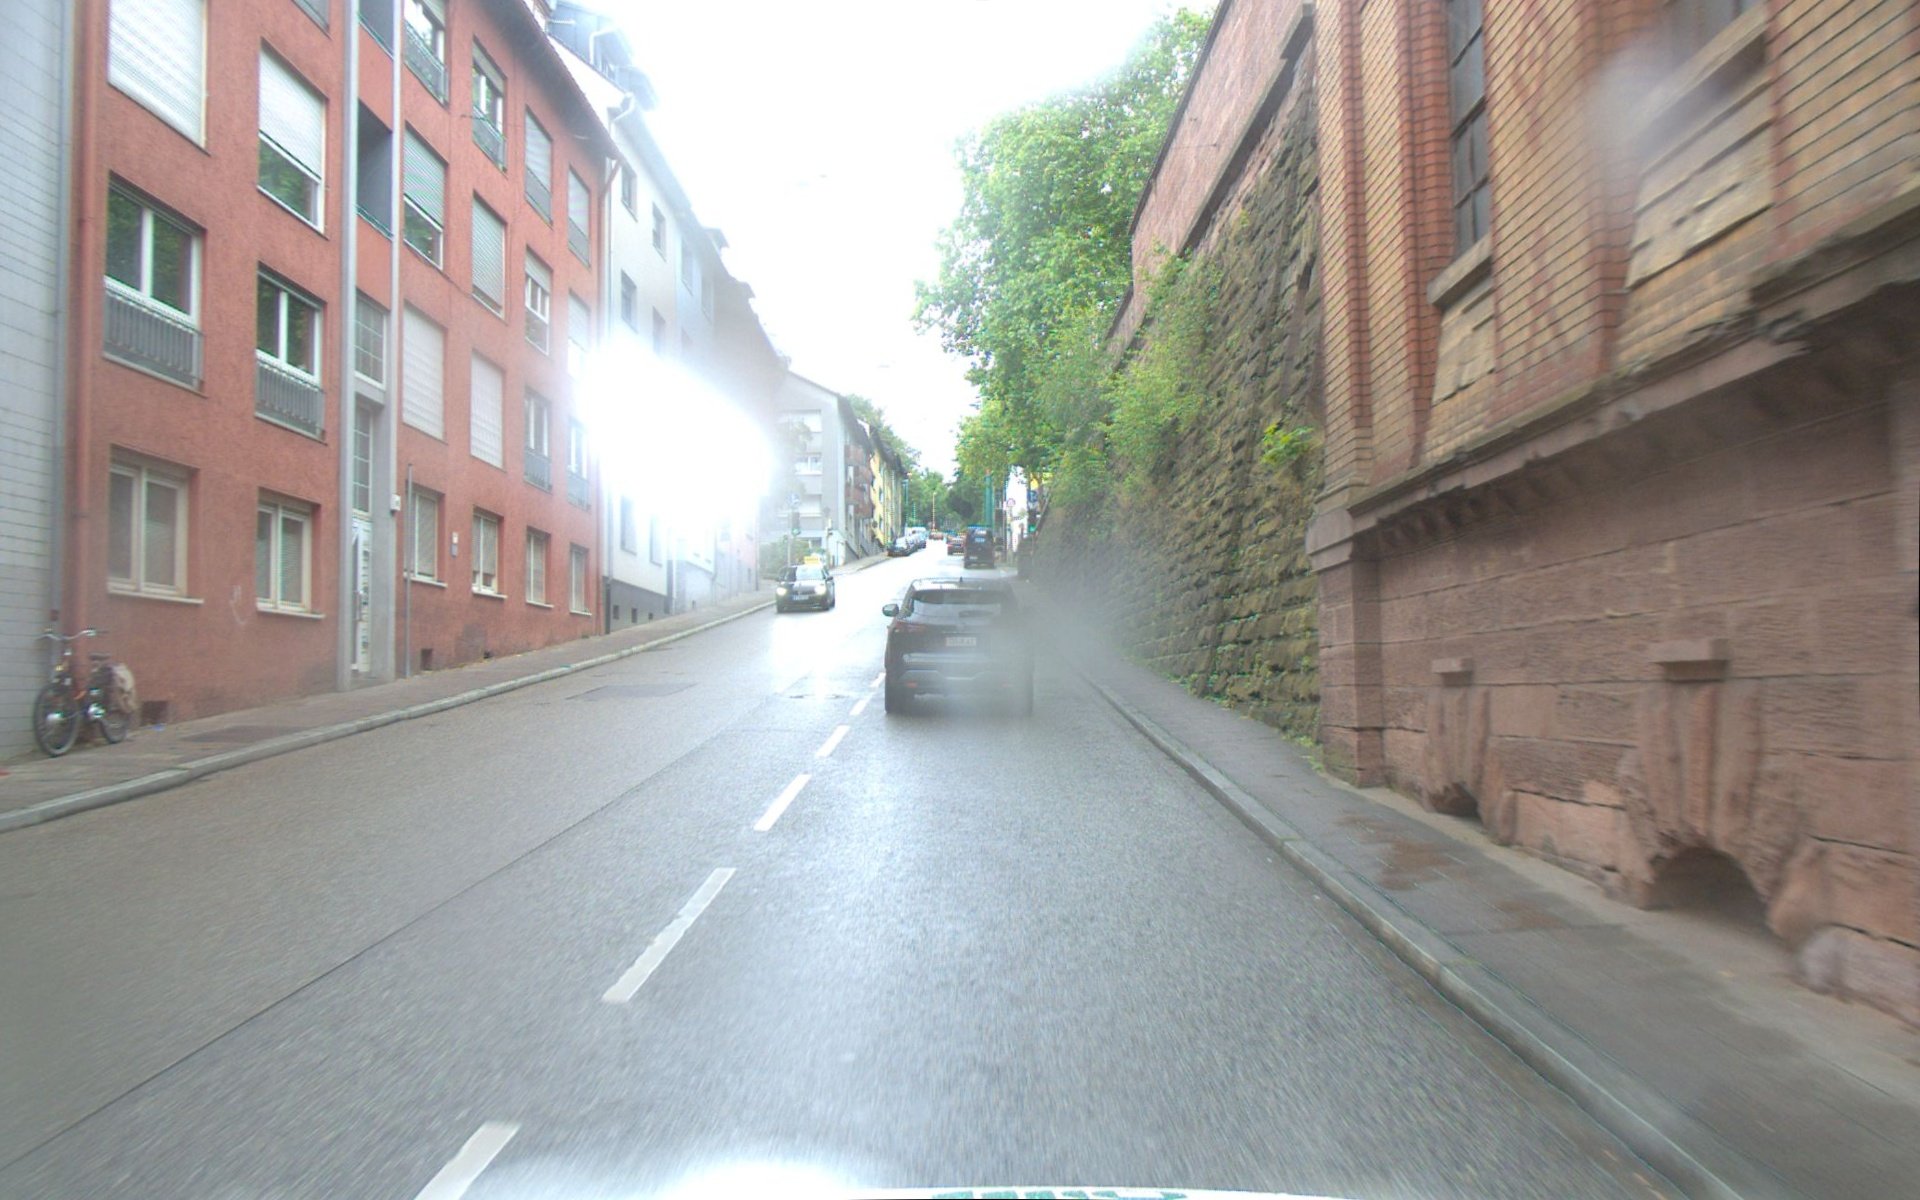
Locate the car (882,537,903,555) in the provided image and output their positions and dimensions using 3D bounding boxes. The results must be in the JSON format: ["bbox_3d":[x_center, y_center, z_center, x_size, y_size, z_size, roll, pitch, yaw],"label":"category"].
[{"bbox_3d":[-6.176,-4.938,151.970,1.757,1.536,4.000,-1,1,0],"label":"car"}]

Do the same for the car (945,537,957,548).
[{"bbox_3d":[-1.338,-8.571,245.495,1.757,1.536,4.000,-1,1,0],"label":"car"}]

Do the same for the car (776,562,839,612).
[{"bbox_3d":[-4.941,-0.461,53.958,1.679,1.473,3.921,-1,2,-1],"label":"car"}]

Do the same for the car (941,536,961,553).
[{"bbox_3d":[-0.844,-5.218,156.123,1.757,1.536,4.000,-1,1,0],"label":"car"}]

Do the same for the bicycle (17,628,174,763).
[{"bbox_3d":[-8.151,0.872,15.674,0.488,1.127,1.800,-1,1,1],"label":"bicycle"}]

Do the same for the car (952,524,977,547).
[{"bbox_3d":[0.330,-4.730,121.297,1.757,1.536,4.500,-1,1,0],"label":"car"}]

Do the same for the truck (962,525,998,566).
[{"bbox_3d":[1.259,-3.479,106.394,2.242,2.482,4.452,-1,1,0],"label":"truck"}]

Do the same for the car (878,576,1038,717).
[{"bbox_3d":[-0.083,0.522,21.038,1.843,1.621,3.920,0,0,-2],"label":"car"}]

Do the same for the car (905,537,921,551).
[{"bbox_3d":[-5.519,-6.661,195.781,1.757,1.536,4.000,-1,1,0],"label":"car"}]
